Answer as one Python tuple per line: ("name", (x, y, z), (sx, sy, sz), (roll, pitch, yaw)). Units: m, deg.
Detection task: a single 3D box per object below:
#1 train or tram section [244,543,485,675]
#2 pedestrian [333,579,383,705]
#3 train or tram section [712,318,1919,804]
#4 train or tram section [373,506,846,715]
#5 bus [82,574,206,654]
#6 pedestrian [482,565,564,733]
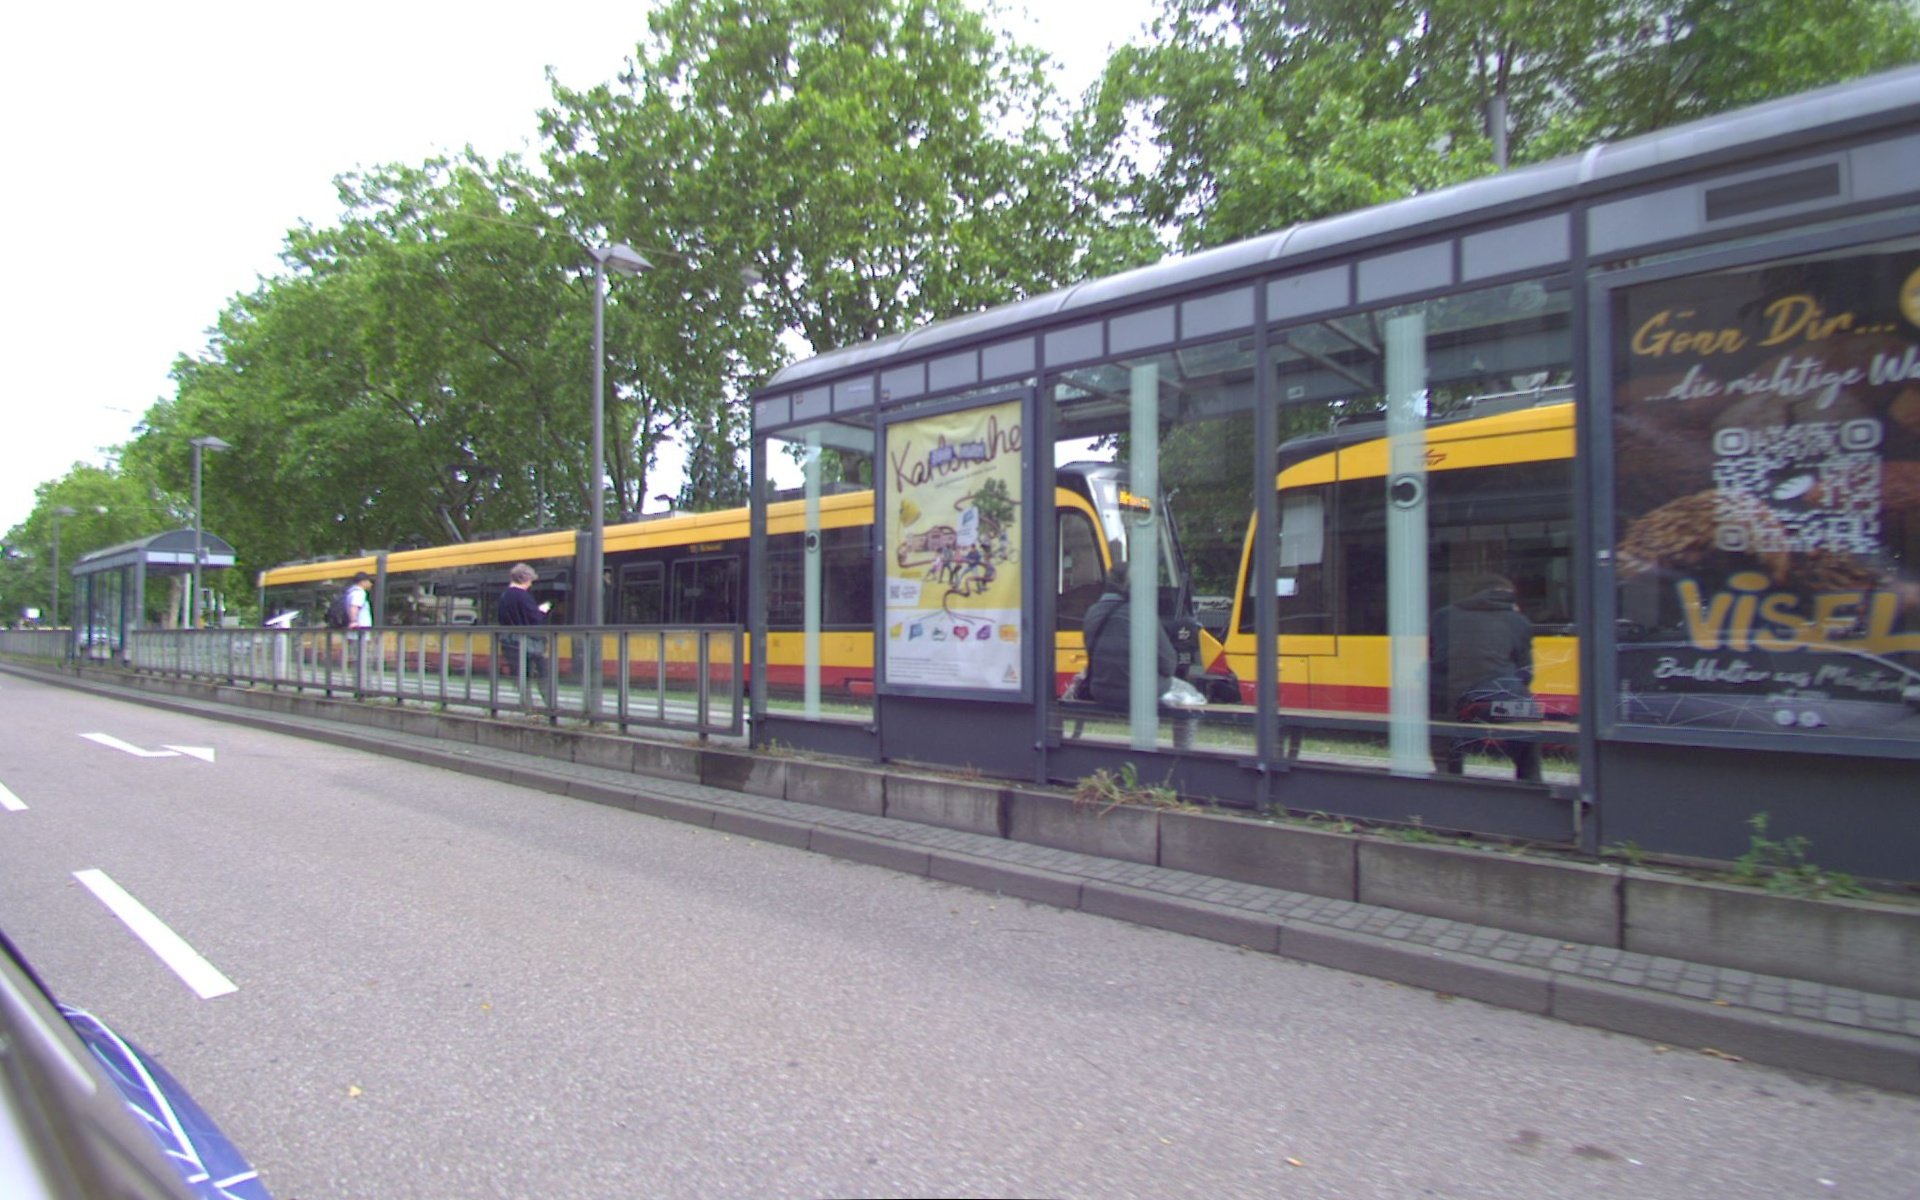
("train or tram section", (-19.768, 0.376, 32.971), (12.533, 3.589, 3.060), (-2, -1, 42))
("pedestrian", (-8.055, 0.549, 13.545), (0.392, 1.645, 0.474), (-2, -1, 42))
("train or tram section", (2.517, -0.128, 13.380), (15.287, 3.558, 3.028), (-2, -1, 41))
("train or tram section", (-9.134, 0.340, 23.618), (15.763, 3.558, 3.028), (-2, -1, 41))
("bus", (-22.260, 0.394, 27.570), (3.998, 2.029, 1.973), (-2, -1, 41))
("pedestrian", (-4.467, 0.485, 10.347), (0.730, 1.645, 0.506), (-2, -1, 42))
